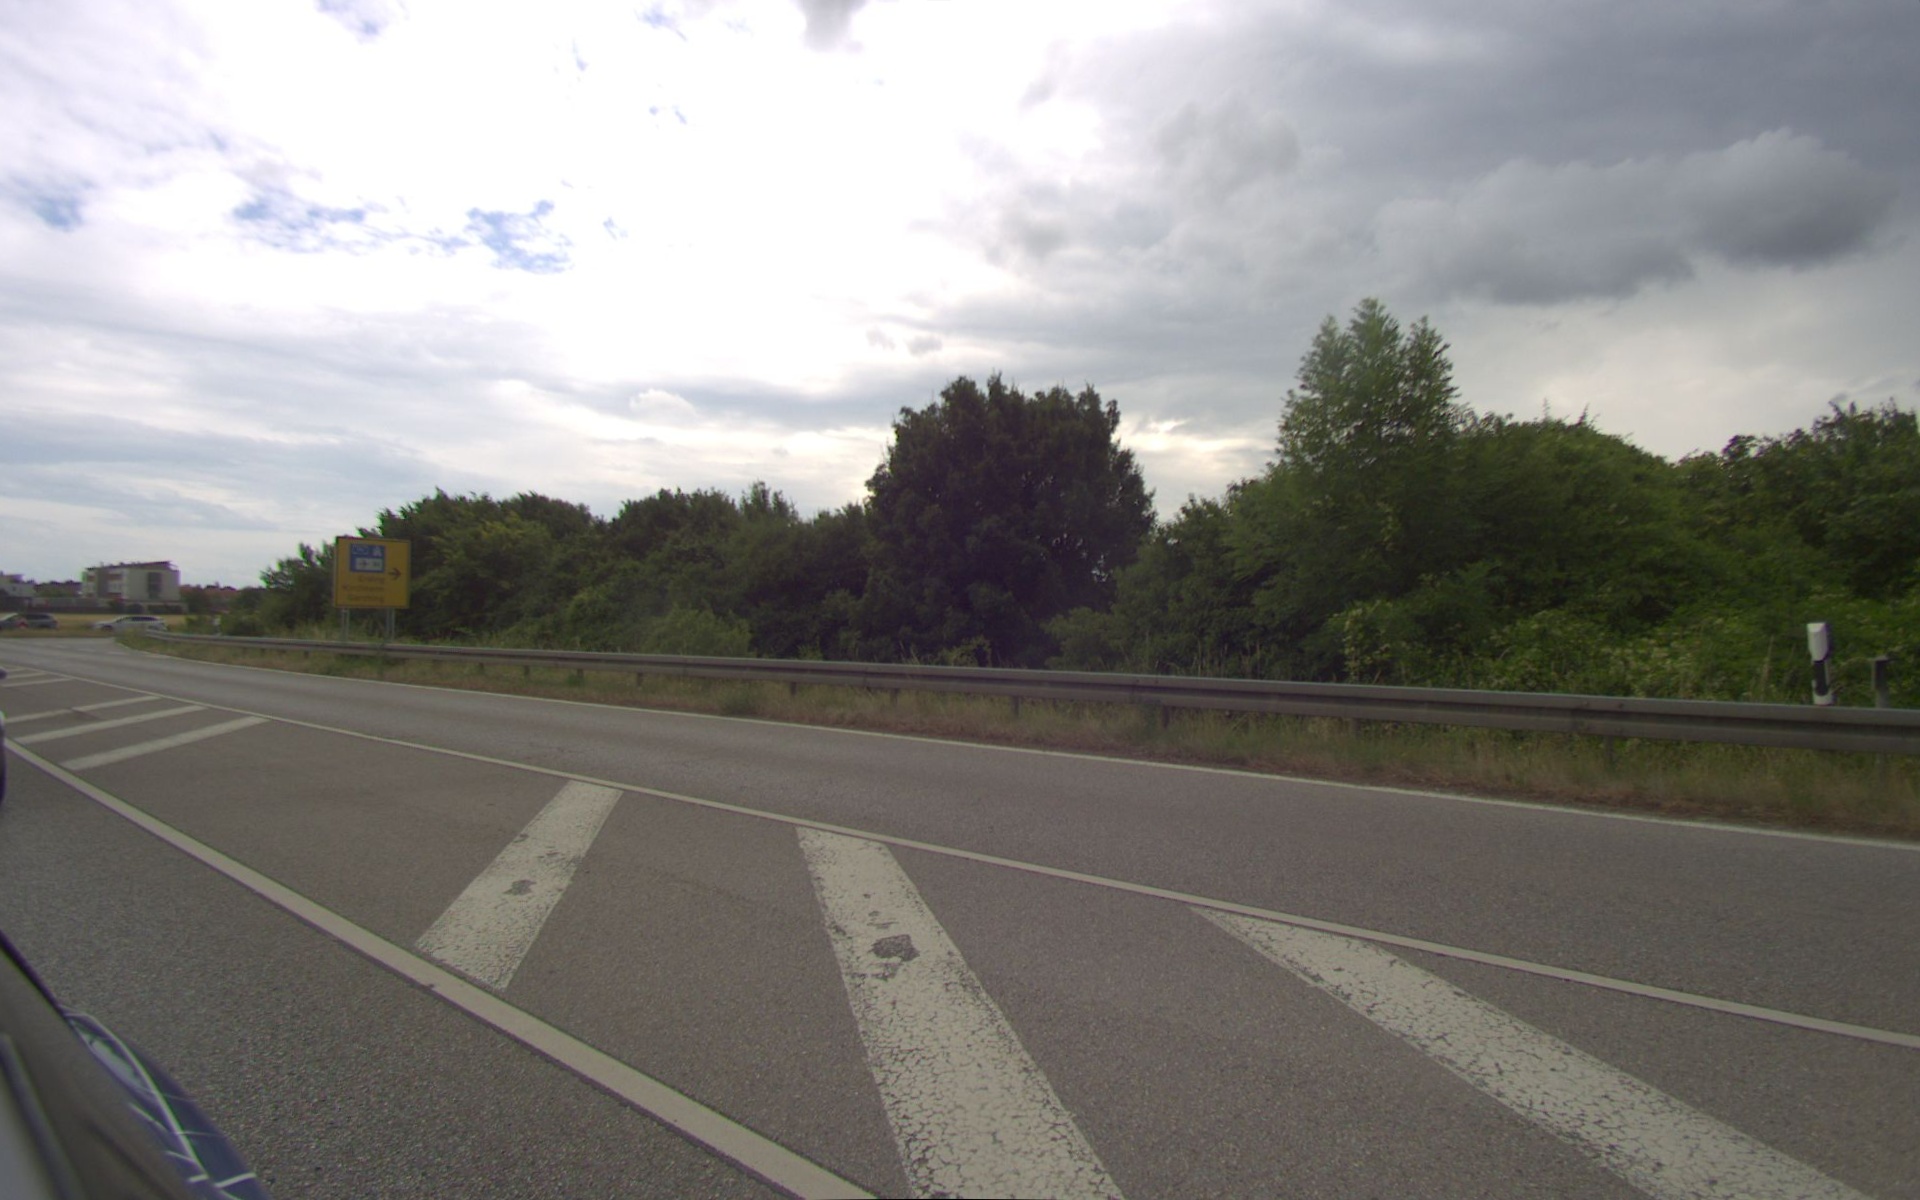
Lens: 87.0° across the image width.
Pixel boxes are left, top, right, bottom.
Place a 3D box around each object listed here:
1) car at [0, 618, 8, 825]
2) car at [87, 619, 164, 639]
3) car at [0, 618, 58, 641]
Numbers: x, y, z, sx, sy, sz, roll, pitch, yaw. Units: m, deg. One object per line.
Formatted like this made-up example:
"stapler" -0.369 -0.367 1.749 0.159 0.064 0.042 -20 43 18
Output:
"car" -8.884 0.868 7.846 4.201 1.455 1.708 -1 -2 40
"car" -66.189 2.263 80.325 4.606 1.510 2.003 1 -1 -41
"car" -70.402 2.176 75.205 1.996 1.702 4.758 -1 -1 36
